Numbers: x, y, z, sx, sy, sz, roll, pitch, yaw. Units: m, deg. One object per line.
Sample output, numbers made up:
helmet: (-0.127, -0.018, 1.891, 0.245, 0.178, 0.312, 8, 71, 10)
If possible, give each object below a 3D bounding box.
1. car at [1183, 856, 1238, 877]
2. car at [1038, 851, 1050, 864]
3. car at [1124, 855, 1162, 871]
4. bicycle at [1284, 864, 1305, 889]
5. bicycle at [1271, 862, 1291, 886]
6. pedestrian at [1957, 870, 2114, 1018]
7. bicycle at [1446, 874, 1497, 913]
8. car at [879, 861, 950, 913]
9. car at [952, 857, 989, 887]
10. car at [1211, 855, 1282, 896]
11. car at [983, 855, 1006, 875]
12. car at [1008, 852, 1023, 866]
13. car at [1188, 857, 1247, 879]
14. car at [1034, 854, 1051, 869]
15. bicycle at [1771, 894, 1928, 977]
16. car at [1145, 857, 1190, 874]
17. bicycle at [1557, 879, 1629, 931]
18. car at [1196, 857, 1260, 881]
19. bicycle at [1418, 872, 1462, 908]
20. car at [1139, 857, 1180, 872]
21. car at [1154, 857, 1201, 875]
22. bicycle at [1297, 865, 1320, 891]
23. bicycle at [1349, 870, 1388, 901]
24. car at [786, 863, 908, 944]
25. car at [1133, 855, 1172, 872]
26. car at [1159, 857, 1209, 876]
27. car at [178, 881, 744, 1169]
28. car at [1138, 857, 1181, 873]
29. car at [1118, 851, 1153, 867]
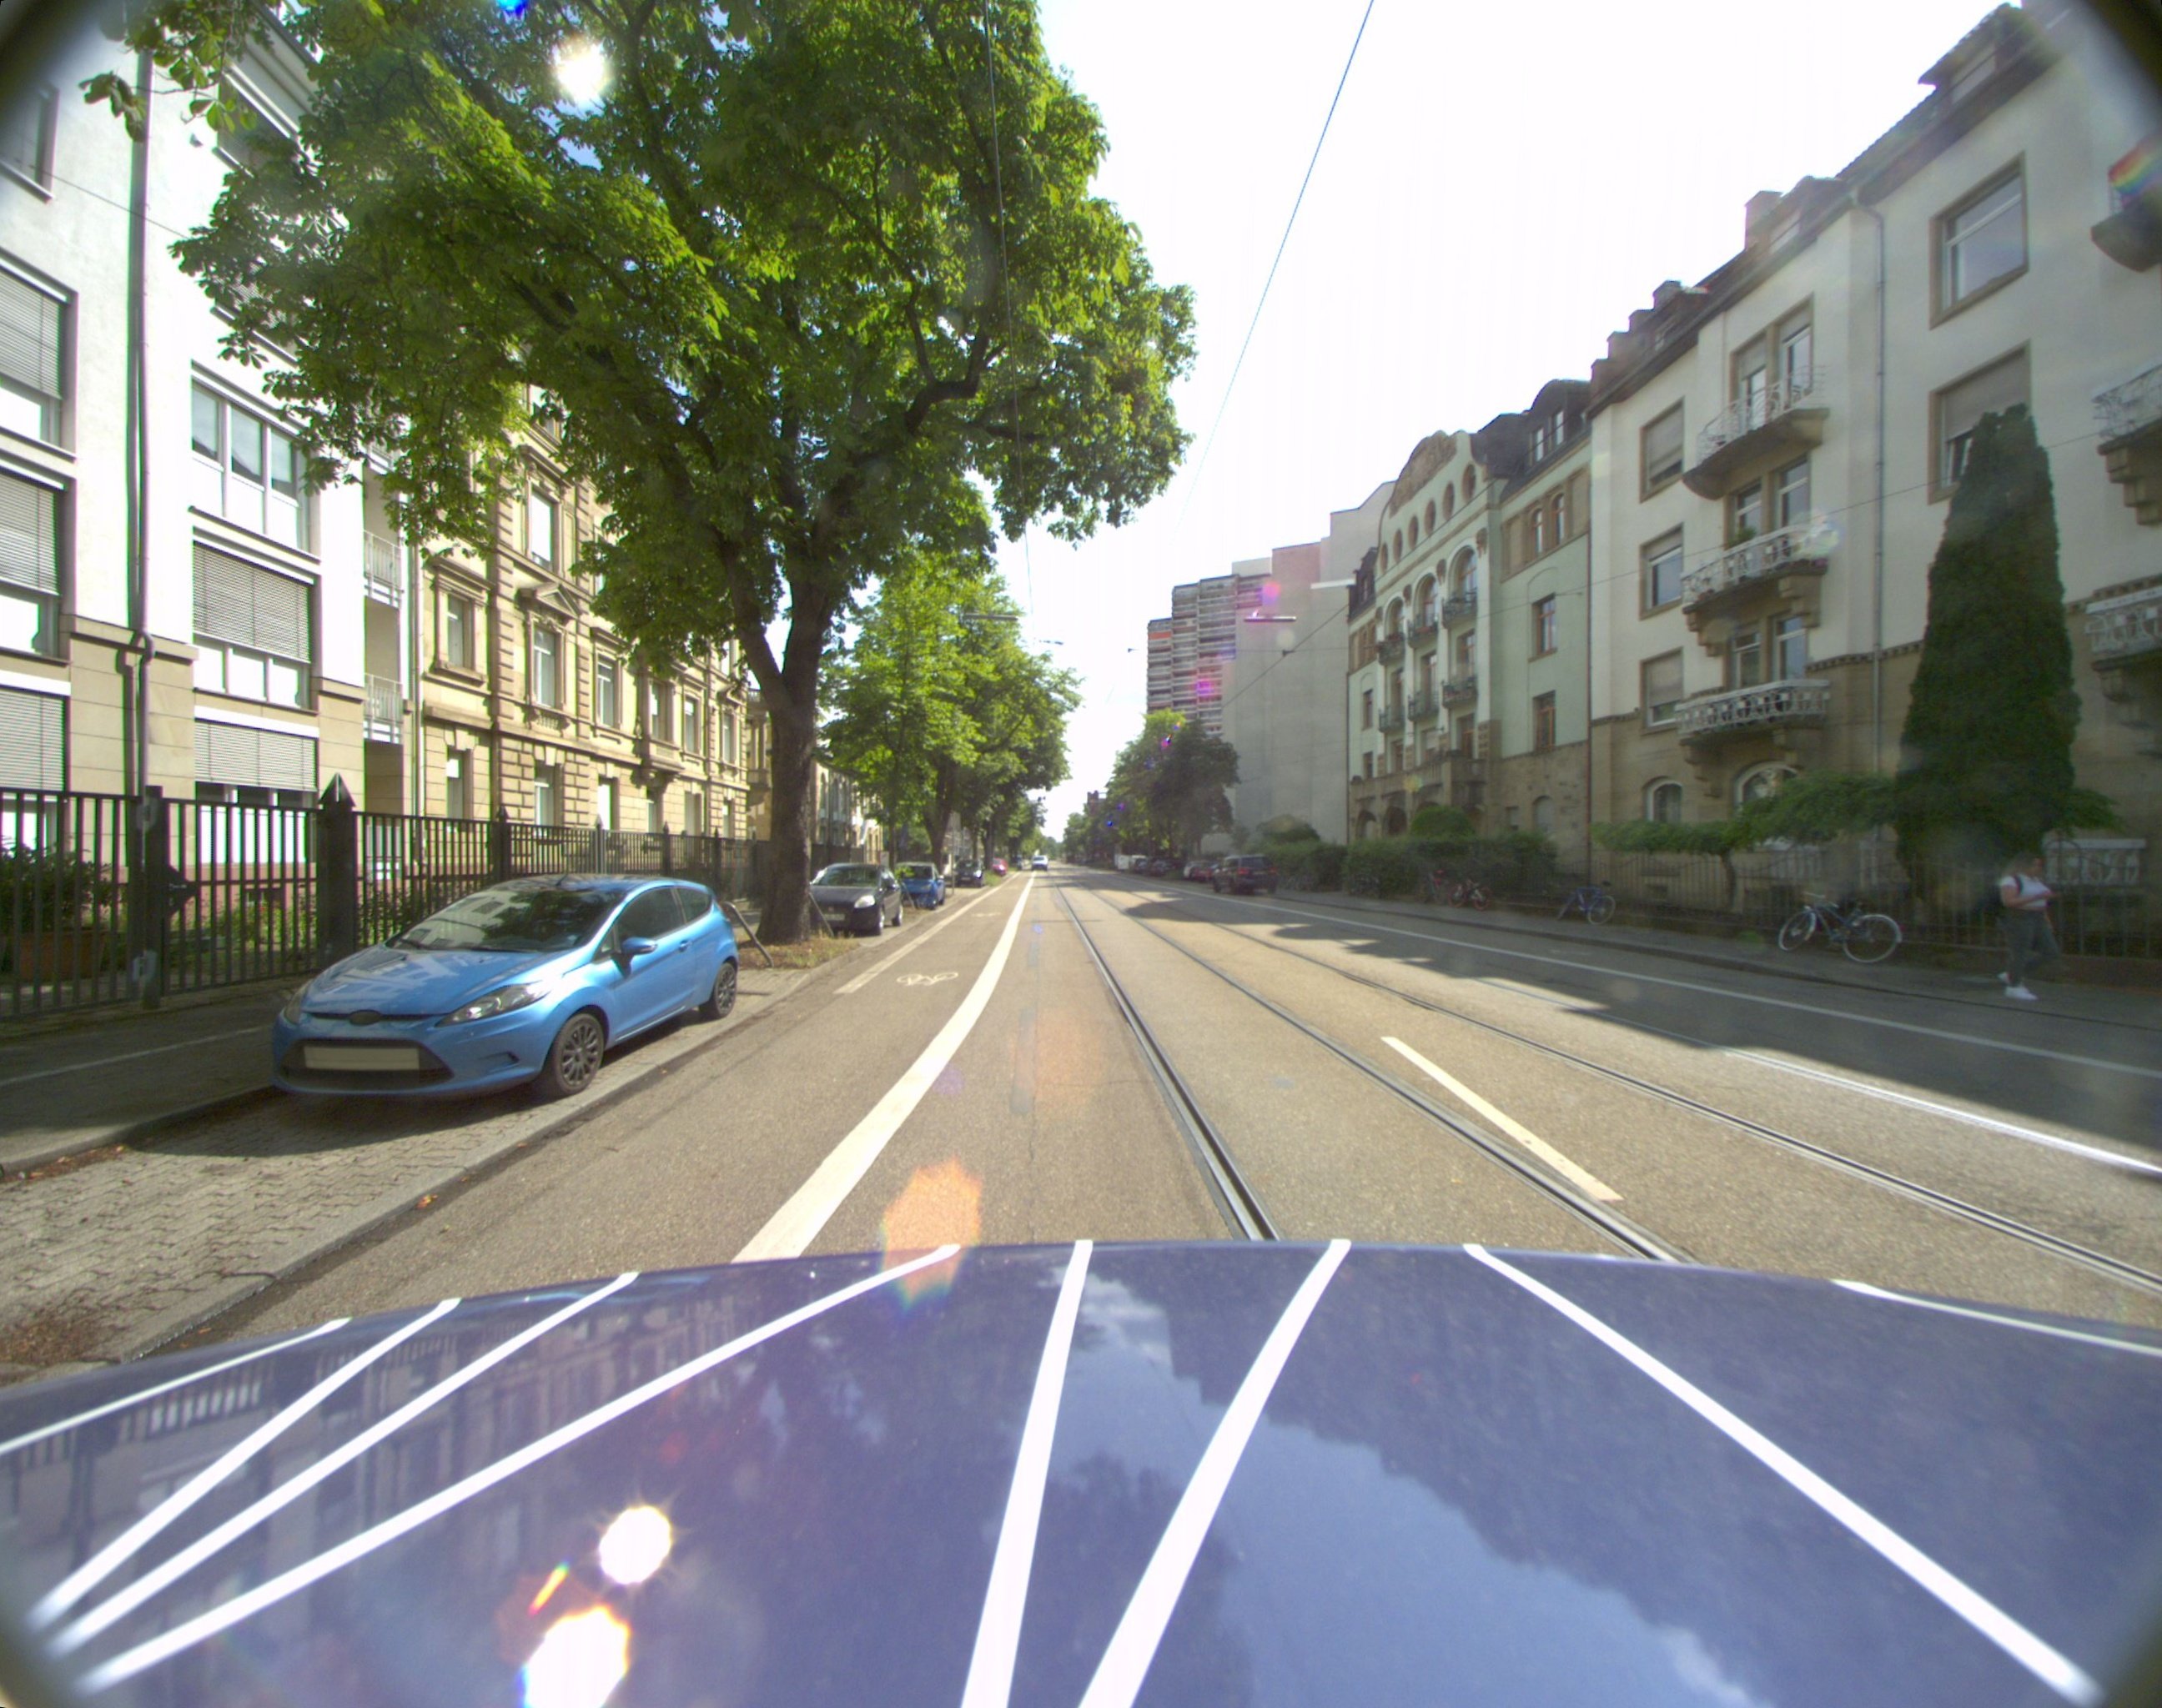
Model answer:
car: (9.652, 0.910, 56.776, 3.994, 1.499, 2.001, 0, 0, 8)
car: (-6.992, 0.645, 144.591, 2.146, 2.568, 4.817, 0, 0, -2)
car: (6.847, 0.952, 83.369, 3.994, 1.672, 2.001, 0, 0, 8)
bicycle: (10.076, 1.027, 35.836, 0.468, 1.128, 1.787, 0, 0, -1)
bicycle: (9.976, 0.984, 37.933, 0.468, 1.128, 1.787, 0, 0, -1)
pedestrian: (10.427, 0.948, 8.330, 0.759, 1.532, 0.765, 0, 0, -2)
bicycle: (10.656, 1.057, 20.798, 0.468, 0.990, 1.787, 0, 0, -1)
car: (-5.328, 1.002, 24.668, 1.679, 1.467, 3.659, 3, 0, -4)
car: (-6.225, 0.987, 43.246, 1.744, 1.564, 3.659, 3, 0, -4)
car: (7.255, 0.878, 33.756, 1.922, 1.685, 4.400, 0, 0, -5)
car: (-7.512, 0.946, 66.202, 1.744, 1.564, 3.928, 3, 0, -4)
car: (-7.818, 0.606, 90.877, 1.744, 1.564, 3.928, 3, 0, -4)
car: (9.516, 0.990, 53.228, 3.994, 1.499, 2.001, 0, 0, 8)
car: (-4.805, 0.896, 94.983, 1.974, 1.901, 4.817, 0, 0, -2)
bicycle: (11.091, 1.135, 11.069, 0.467, 0.990, 1.979, 0, 0, 7)
car: (7.918, 1.070, 69.100, 3.994, 1.499, 2.001, 0, 0, 8)
bicycle: (10.945, 1.065, 16.313, 0.467, 0.990, 1.787, 0, 0, 5)
car: (9.549, 0.979, 49.719, 3.994, 1.499, 2.001, 0, 0, 8)
bicycle: (10.694, 1.052, 22.696, 0.468, 0.990, 1.787, 0, 0, -1)
car: (7.843, 1.046, 75.470, 3.994, 1.499, 2.001, 0, 0, 8)
car: (8.416, 1.030, 65.980, 3.994, 1.499, 2.001, 0, 0, 8)
bicycle: (10.157, 1.046, 33.894, 0.468, 1.128, 1.787, 0, 0, -1)
bicycle: (10.107, 1.088, 26.783, 0.605, 0.990, 1.981, 0, 0, -1)
car: (-4.922, 0.978, 16.454, 1.679, 1.467, 3.659, 3, 0, -4)
car: (7.427, 0.967, 78.944, 3.994, 1.672, 2.001, 0, 0, 8)
car: (8.512, 1.015, 62.824, 3.994, 1.499, 2.001, 0, 0, 8)
car: (-4.329, 1.047, 6.155, 1.647, 1.467, 3.660, 3, 0, -3)
car: (7.514, 1.046, 72.309, 3.994, 1.499, 2.001, 0, 0, 8)
car: (6.429, 0.616, 89.204, 1.994, 1.740, 4.008, -1, 1, 41)
